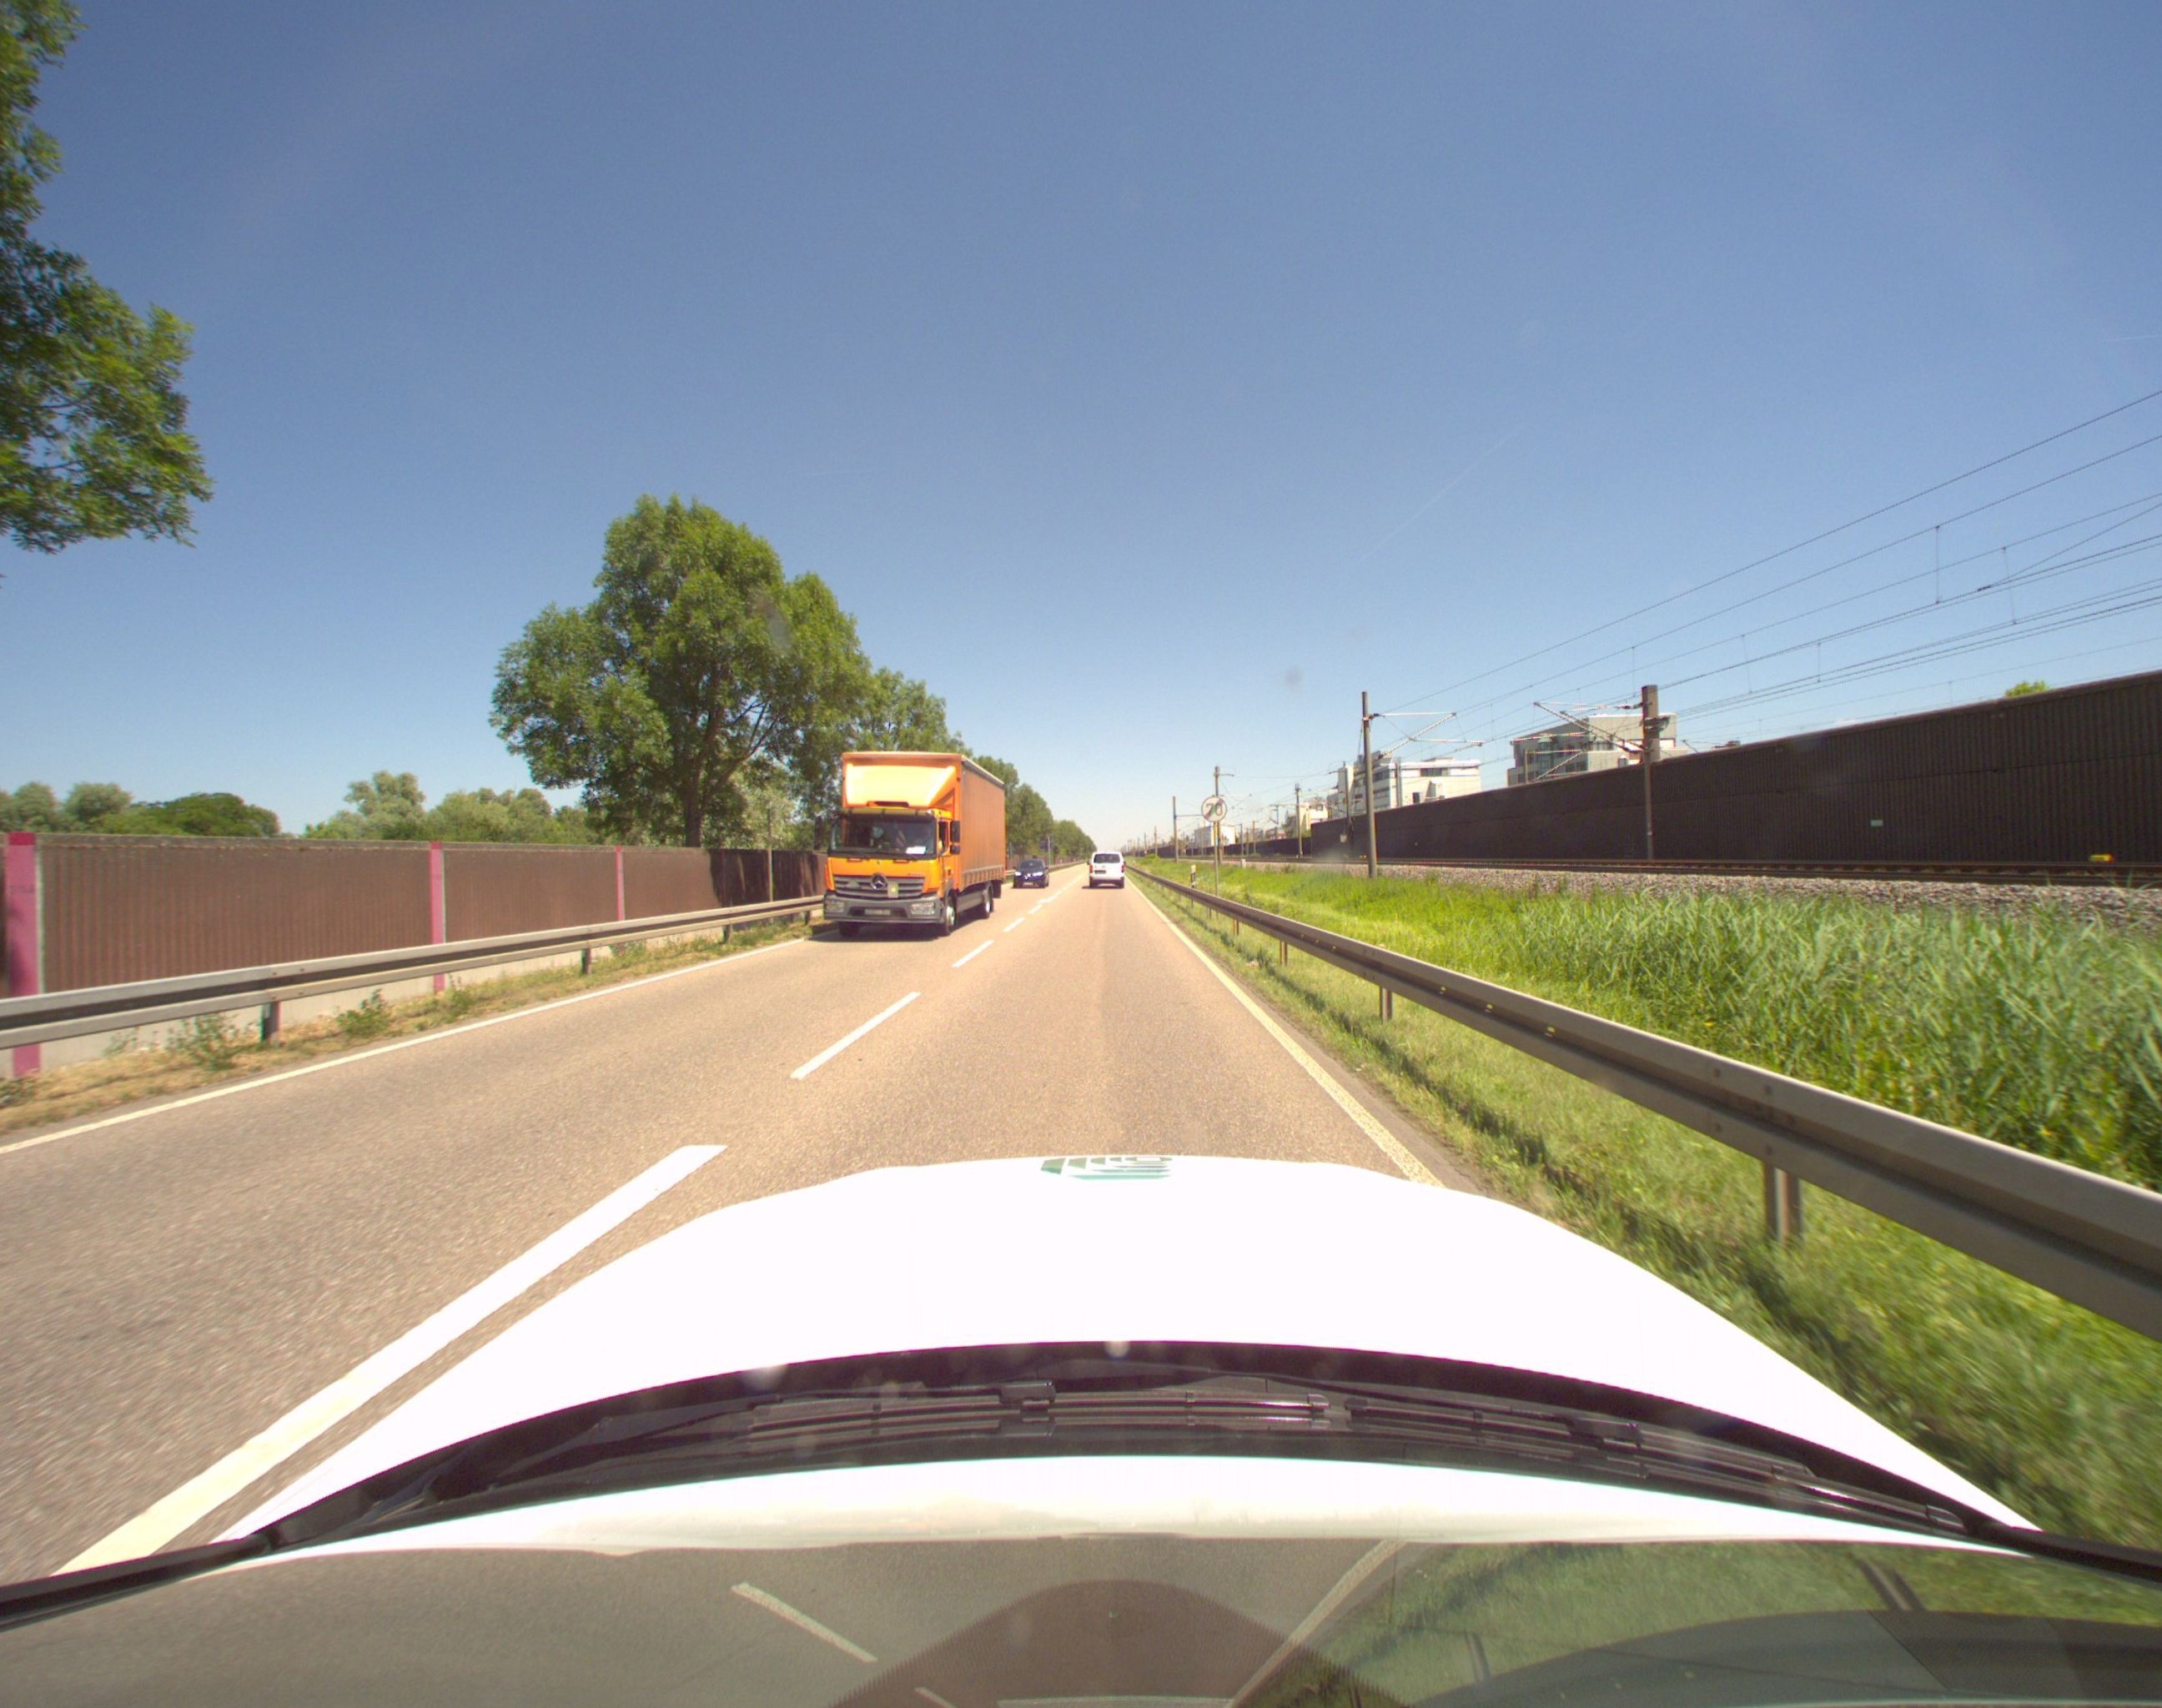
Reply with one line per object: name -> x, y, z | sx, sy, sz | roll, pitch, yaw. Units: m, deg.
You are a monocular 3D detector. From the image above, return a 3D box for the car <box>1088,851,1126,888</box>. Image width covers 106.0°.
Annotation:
car -> 1.418, 0.812, 44.174 | 1.938, 1.881, 4.882 | -1, -1, 2

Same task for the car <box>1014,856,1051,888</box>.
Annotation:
car -> -2.603, 0.945, 44.319 | 1.616, 1.577, 3.765 | -1, 0, 2

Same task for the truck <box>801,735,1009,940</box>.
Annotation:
truck -> -3.752, -0.288, 20.068 | 2.781, 3.840, 9.327 | -1, 0, 2
